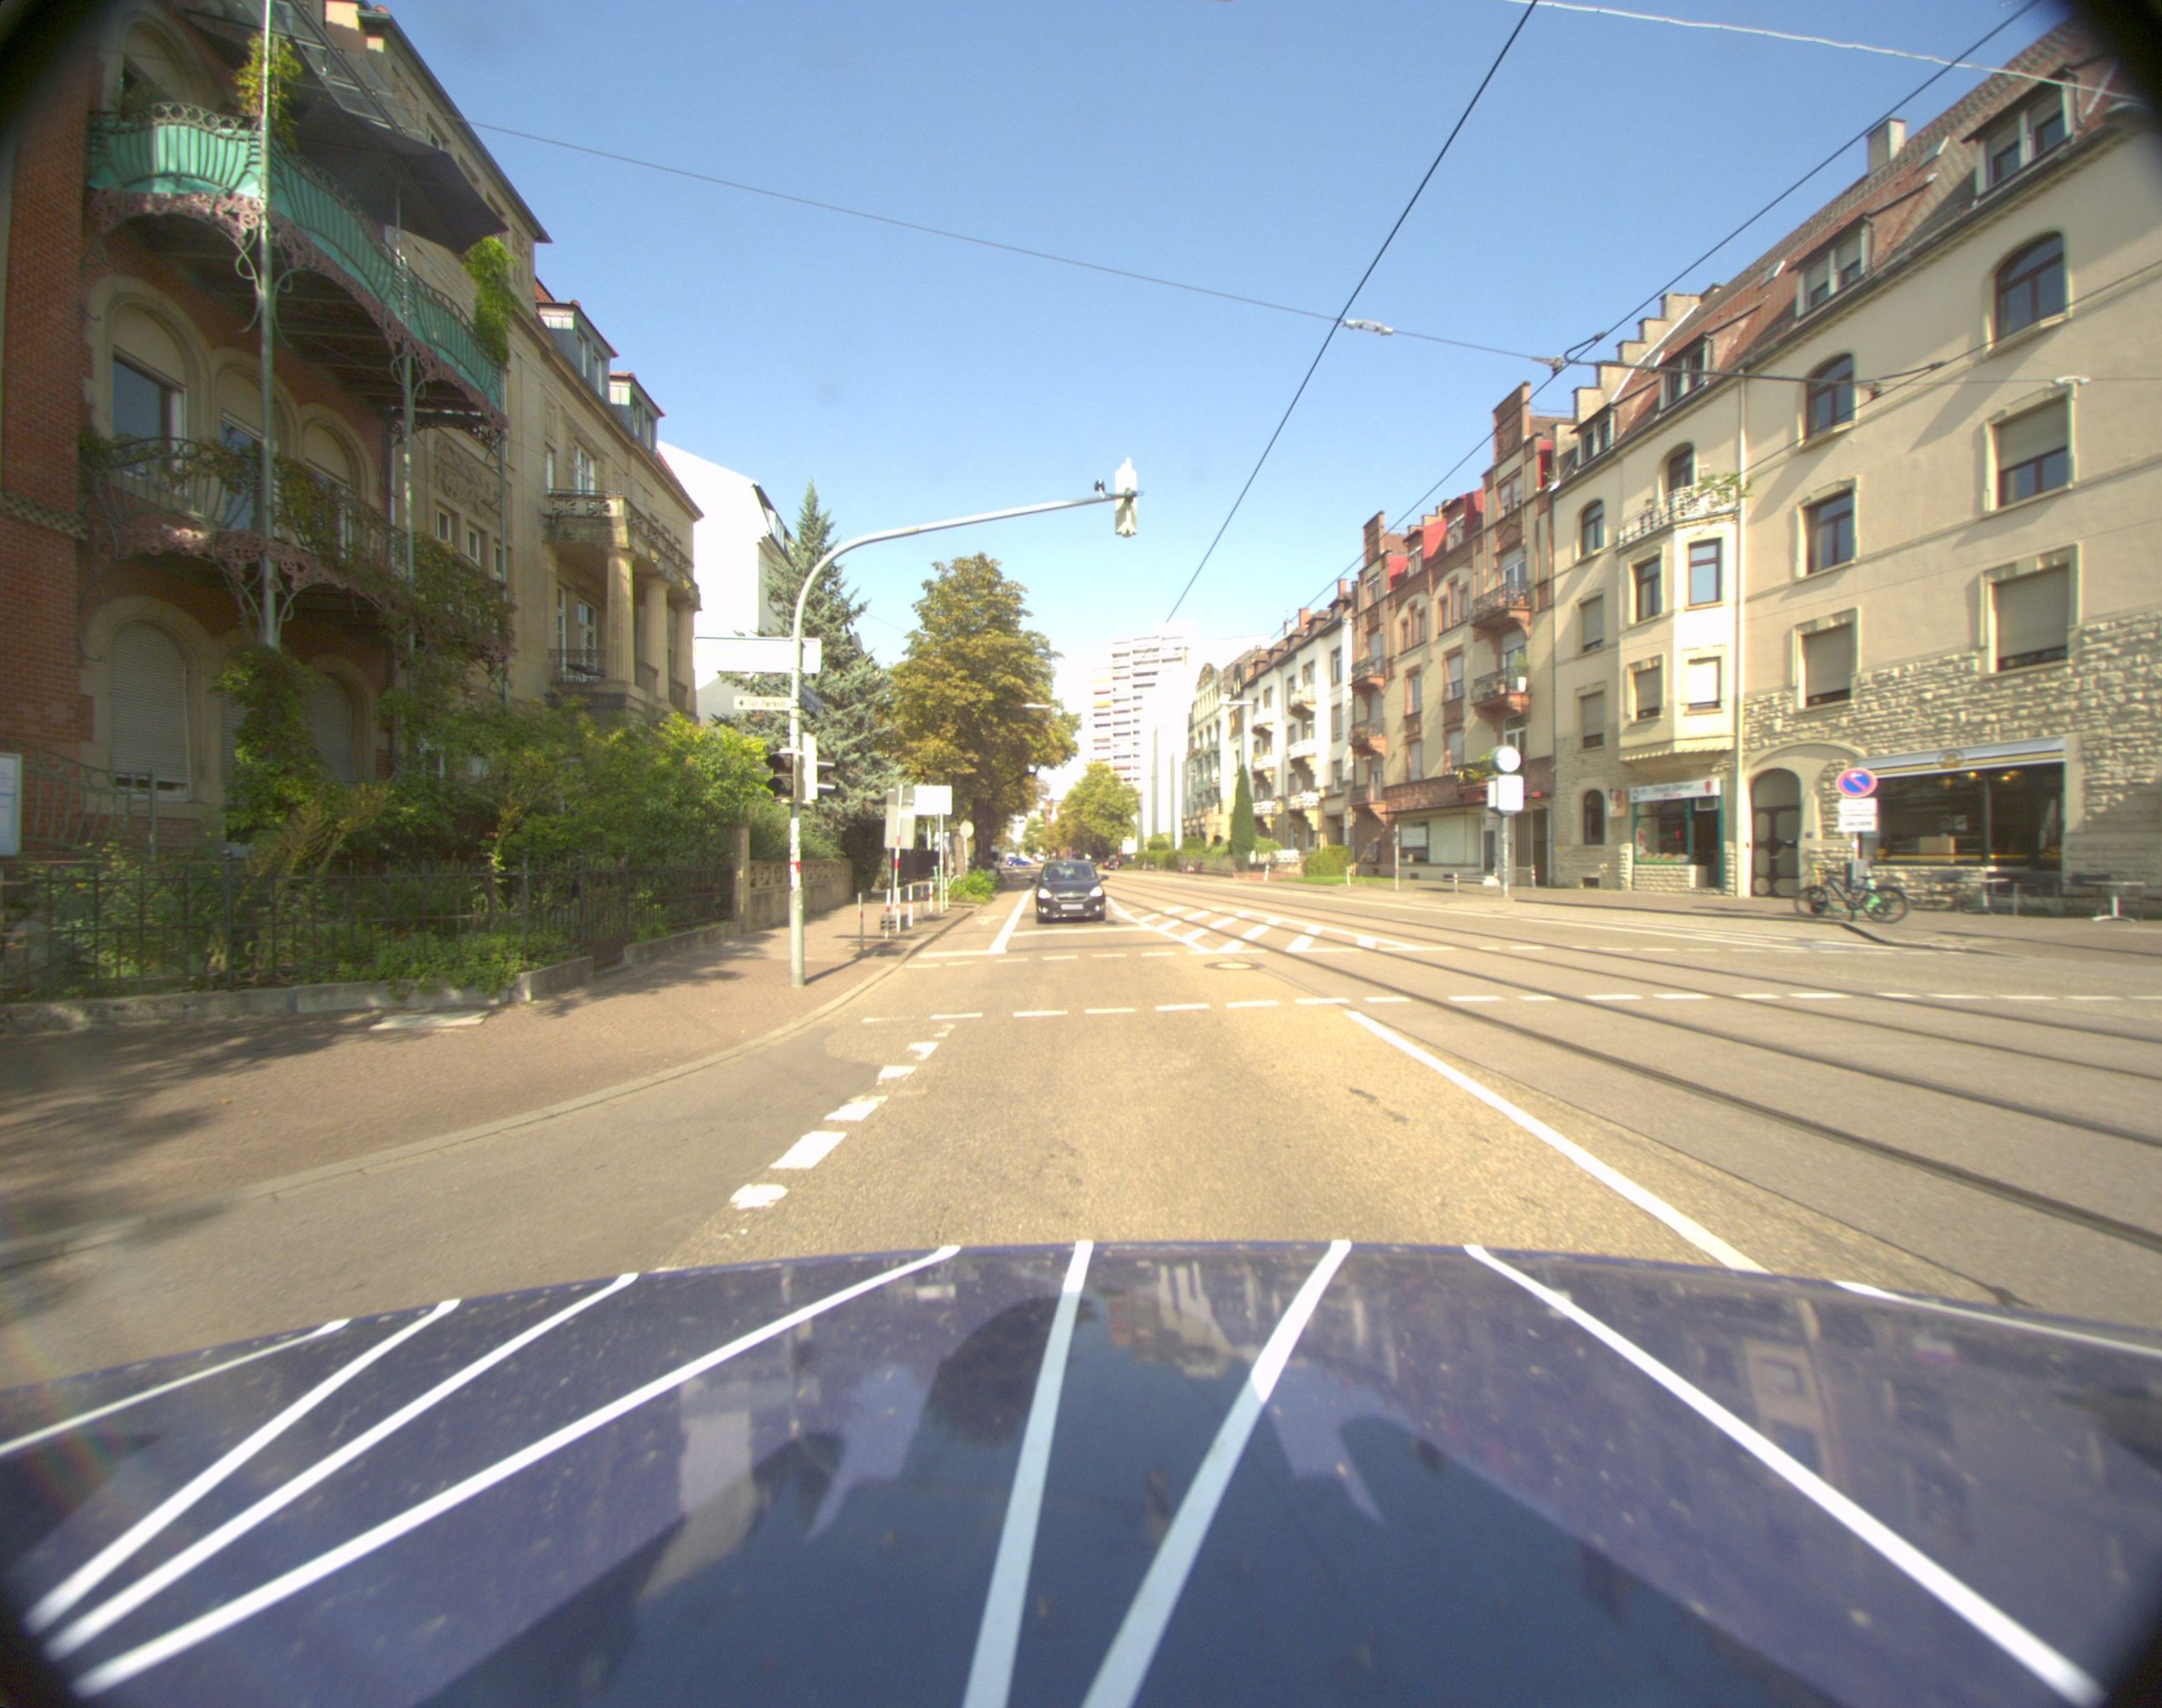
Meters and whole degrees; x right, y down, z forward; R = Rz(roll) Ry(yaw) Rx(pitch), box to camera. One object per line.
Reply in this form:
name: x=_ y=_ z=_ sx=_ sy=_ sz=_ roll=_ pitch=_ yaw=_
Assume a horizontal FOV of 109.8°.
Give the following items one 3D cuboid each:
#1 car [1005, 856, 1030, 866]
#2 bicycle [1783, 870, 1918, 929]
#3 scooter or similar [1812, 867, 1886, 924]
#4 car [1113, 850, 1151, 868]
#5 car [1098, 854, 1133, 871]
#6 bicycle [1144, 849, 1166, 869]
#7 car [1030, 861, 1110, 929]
car: x=-11.337 y=1.233 z=135.497 sx=4.006 sy=1.639 sz=1.996 roll=0 pitch=0 yaw=-27
bicycle: x=15.763 y=0.890 z=15.635 sx=0.546 sy=1.097 sz=1.893 roll=-1 pitch=0 yaw=-20
scooter or similar: x=16.328 y=0.858 z=16.164 sx=0.443 sy=1.151 sz=1.091 roll=-1 pitch=1 yaw=-43
car: x=5.952 y=0.586 z=88.803 sx=4.007 sy=2.002 sz=1.995 roll=0 pitch=0 yaw=-33
car: x=4.434 y=1.058 z=96.681 sx=4.007 sy=2.002 sz=1.995 roll=0 pitch=0 yaw=-33
bicycle: x=7.215 y=0.467 z=74.350 sx=1.016 sy=1.847 sz=3.551 roll=-2 pitch=1 yaw=-12
car: x=-0.306 y=0.945 z=19.238 sx=1.776 sy=1.459 sz=3.999 roll=-1 pitch=0 yaw=-2
